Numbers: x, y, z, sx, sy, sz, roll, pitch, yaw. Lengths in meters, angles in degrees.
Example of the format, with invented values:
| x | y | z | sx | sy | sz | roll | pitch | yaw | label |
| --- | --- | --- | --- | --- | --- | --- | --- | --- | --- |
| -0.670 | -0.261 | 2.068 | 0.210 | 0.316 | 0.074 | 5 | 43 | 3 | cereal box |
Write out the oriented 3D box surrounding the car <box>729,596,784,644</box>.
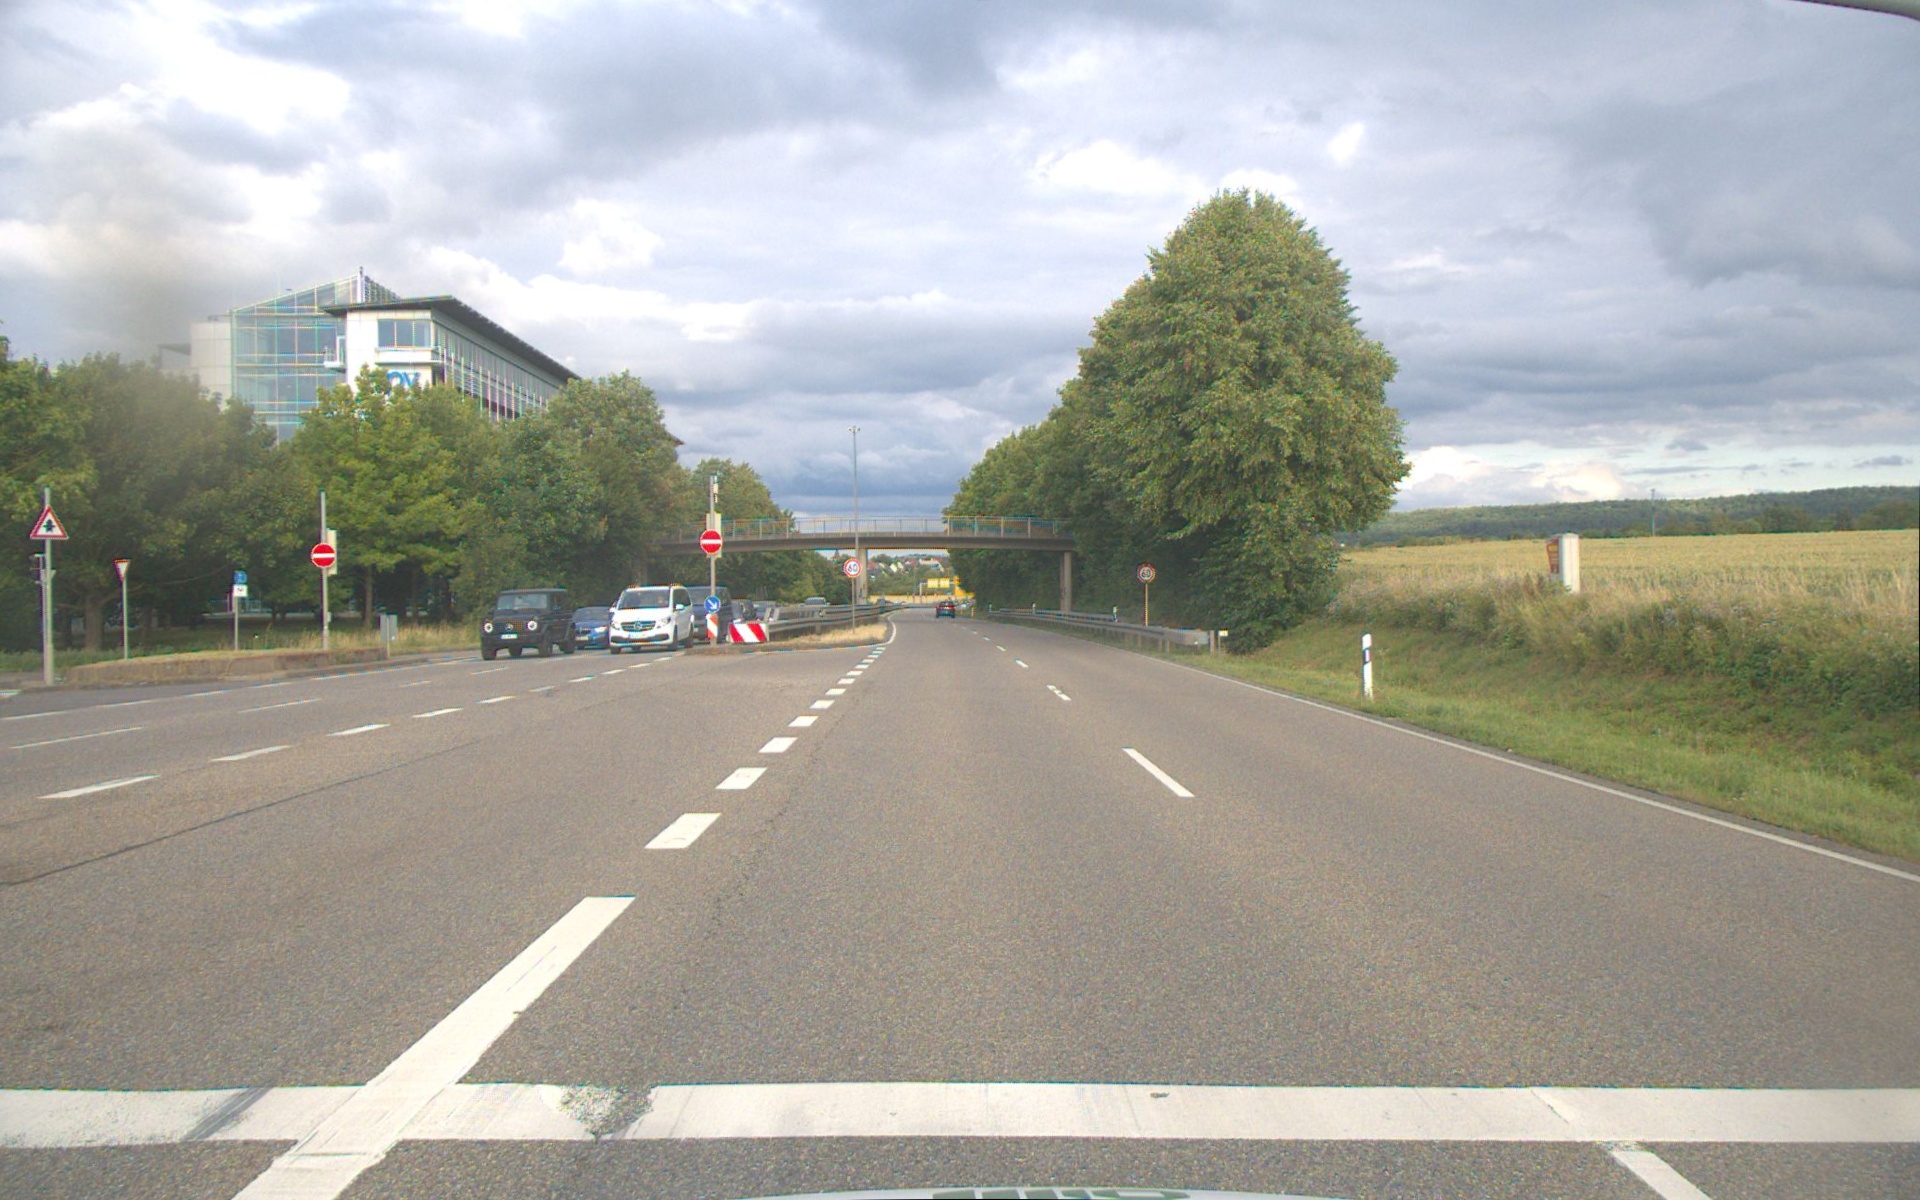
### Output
| x | y | z | sx | sy | sz | roll | pitch | yaw | label |
| --- | --- | --- | --- | --- | --- | --- | --- | --- | --- |
| -9.242 | 0.893 | 75.480 | 2.041 | 2.049 | 5.214 | 1 | 0 | -2 | car |

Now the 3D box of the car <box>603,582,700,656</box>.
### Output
| x | y | z | sx | sy | sz | roll | pitch | yaw | label |
| --- | --- | --- | --- | --- | --- | --- | --- | --- | --- |
| -9.099 | 0.544 | 49.204 | 2.041 | 2.049 | 5.214 | 1 | 0 | -2 | car |

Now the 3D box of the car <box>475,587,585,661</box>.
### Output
| x | y | z | sx | sy | sz | roll | pitch | yaw | label |
| --- | --- | --- | --- | --- | --- | --- | --- | --- | --- |
| -12.659 | 0.682 | 49.038 | 2.041 | 2.049 | 5.214 | 1 | 0 | -2 | car |

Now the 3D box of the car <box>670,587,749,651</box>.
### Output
| x | y | z | sx | sy | sz | roll | pitch | yaw | label |
| --- | --- | --- | --- | --- | --- | --- | --- | --- | --- |
| -8.558 | 0.640 | 56.947 | 2.041 | 2.049 | 5.214 | 1 | 0 | -2 | car |

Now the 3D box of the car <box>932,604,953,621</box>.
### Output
| x | y | z | sx | sy | sz | roll | pitch | yaw | label |
| --- | --- | --- | --- | --- | --- | --- | --- | --- | --- |
| -1.667 | 1.194 | 155.905 | 1.842 | 1.579 | 3.998 | 1 | 0 | -2 | car |

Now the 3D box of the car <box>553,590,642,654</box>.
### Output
| x | y | z | sx | sy | sz | roll | pitch | yaw | label |
| --- | --- | --- | --- | --- | --- | --- | --- | --- | --- |
| -12.322 | 0.729 | 56.543 | 2.041 | 2.049 | 5.214 | 1 | 0 | -2 | car |
